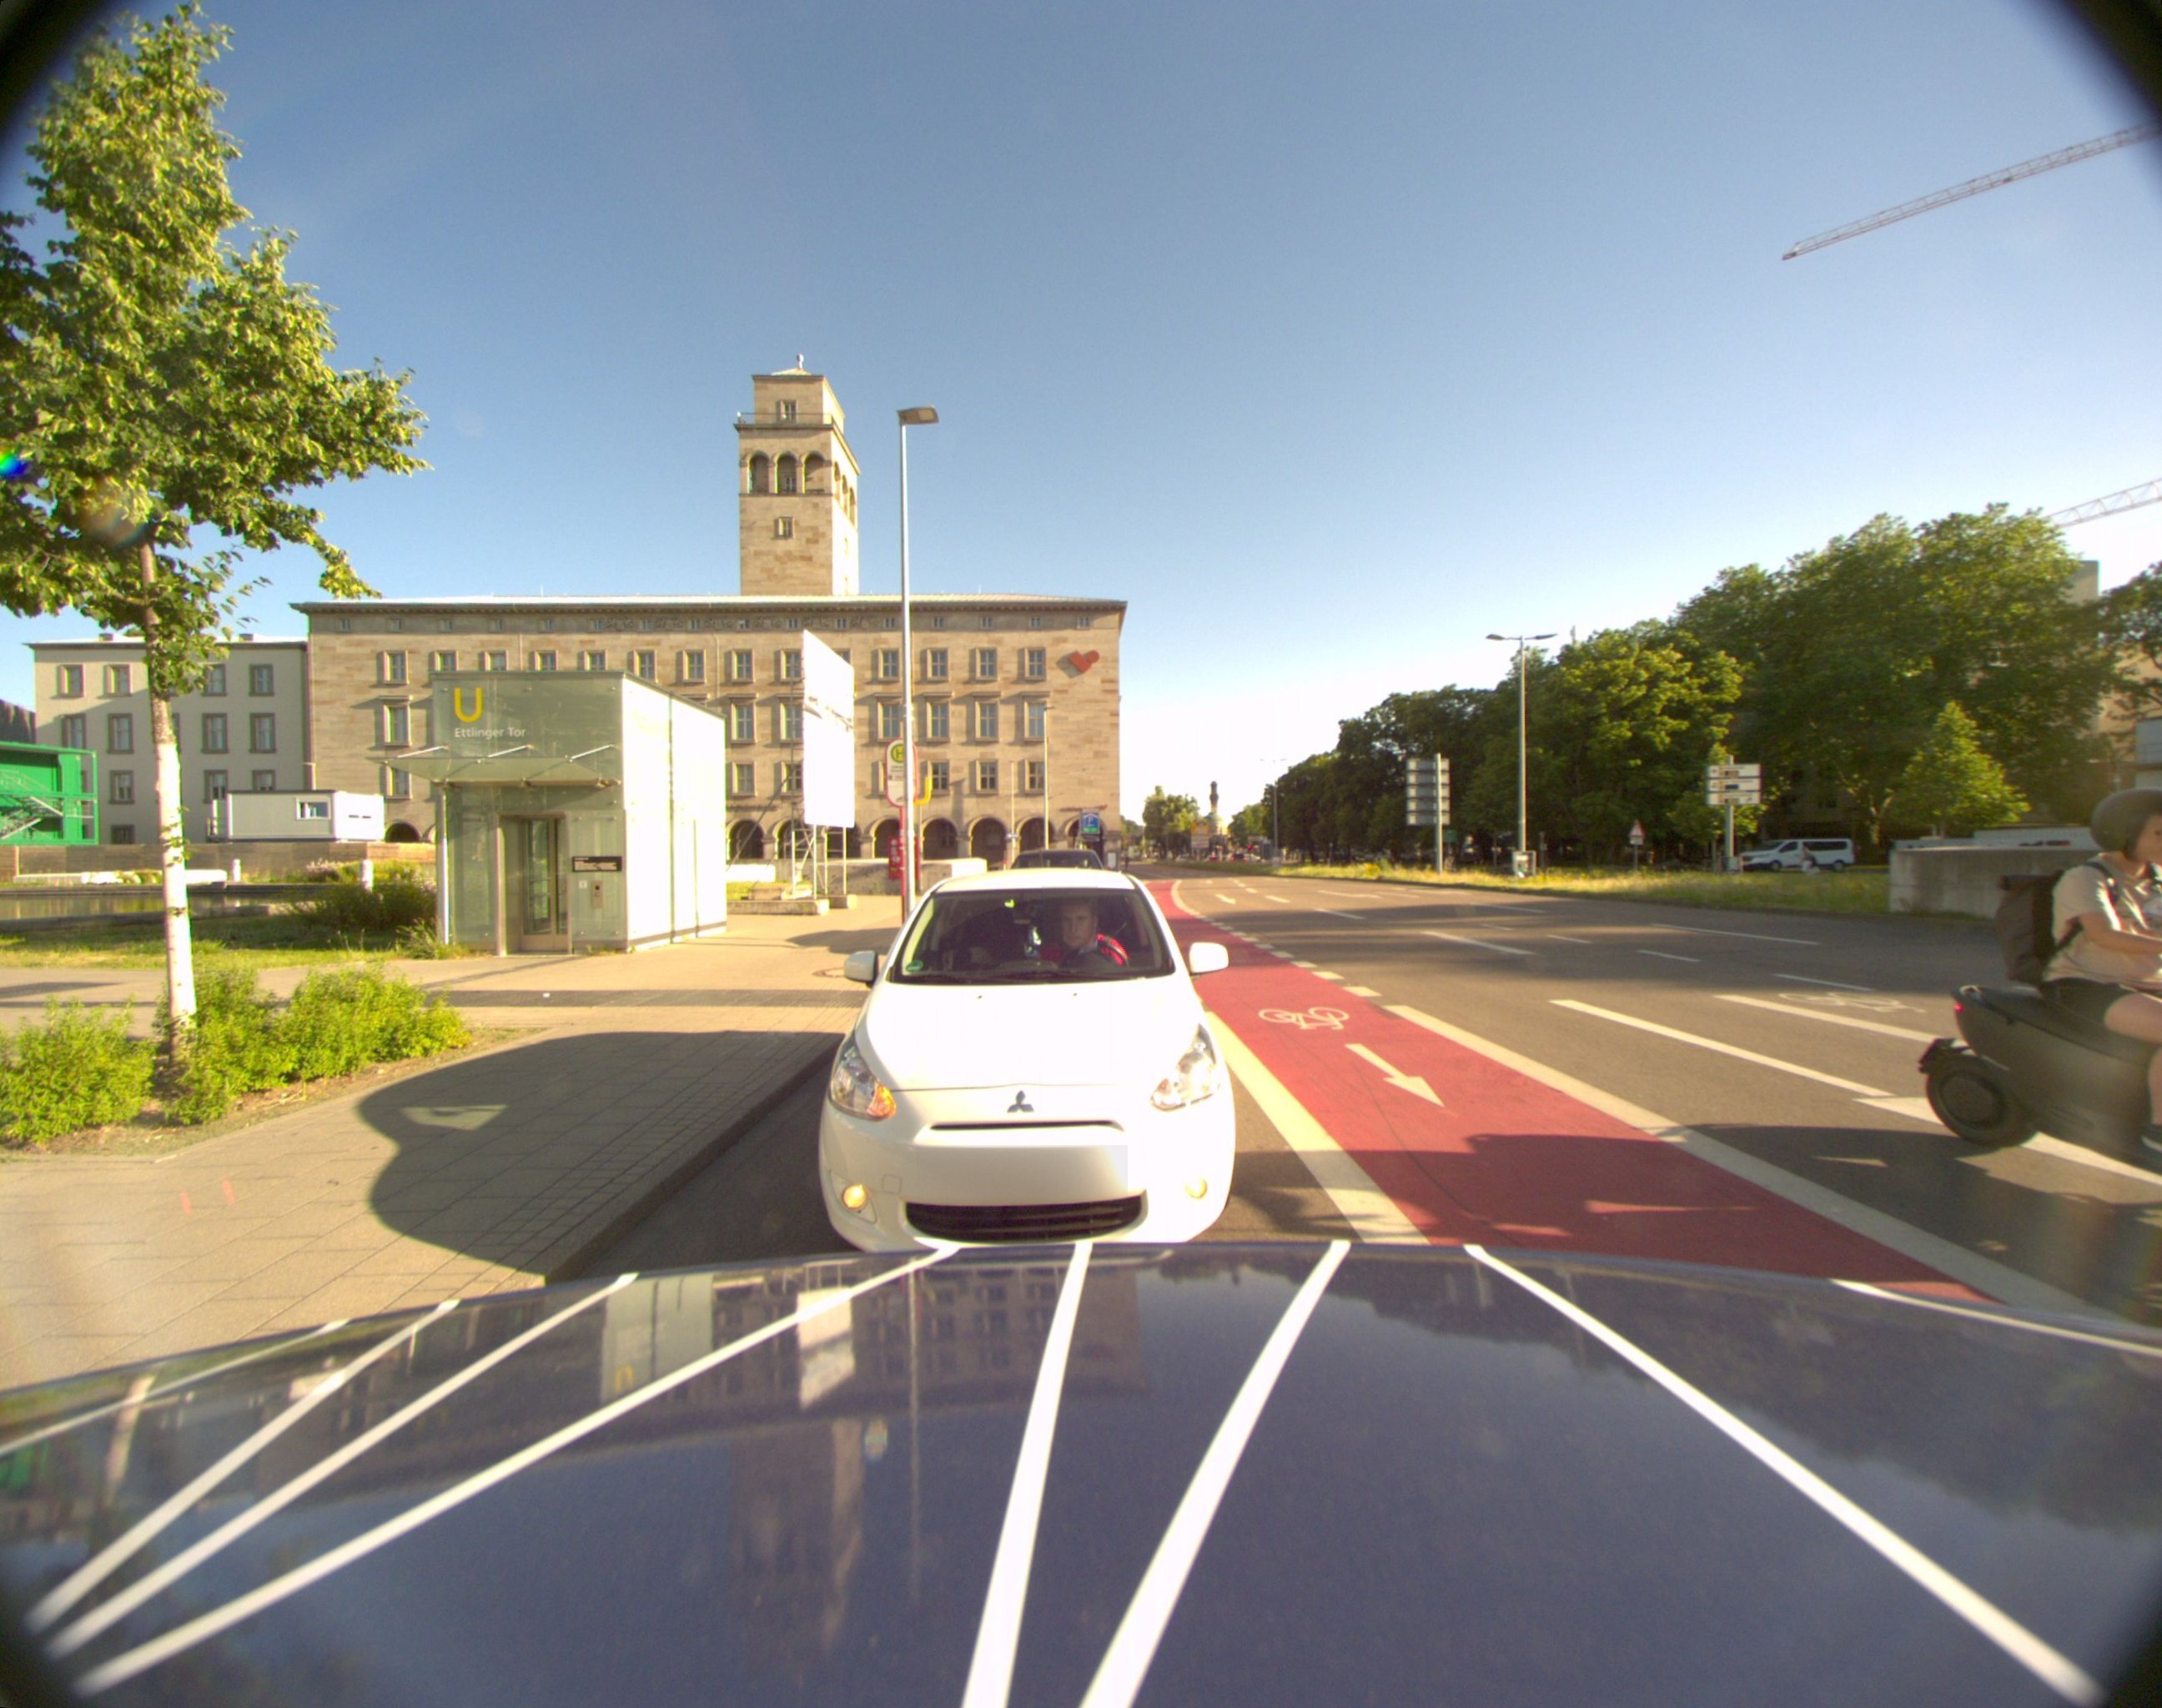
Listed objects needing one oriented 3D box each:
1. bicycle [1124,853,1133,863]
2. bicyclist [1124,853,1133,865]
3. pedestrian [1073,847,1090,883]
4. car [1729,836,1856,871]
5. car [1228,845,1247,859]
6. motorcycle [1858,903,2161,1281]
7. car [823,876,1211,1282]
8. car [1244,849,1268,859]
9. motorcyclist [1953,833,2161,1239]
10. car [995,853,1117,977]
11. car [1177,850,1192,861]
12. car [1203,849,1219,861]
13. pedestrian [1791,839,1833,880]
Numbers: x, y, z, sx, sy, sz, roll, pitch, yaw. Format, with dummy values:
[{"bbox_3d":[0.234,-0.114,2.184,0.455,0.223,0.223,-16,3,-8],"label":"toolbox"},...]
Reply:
[{"bbox_3d":[5.468,0.421,87.900,0.854,1.109,2.808,-2,0,1],"label":"bicycle"},{"bbox_3d":[5.472,0.620,87.696,0.854,1.340,0.829,-2,1,1],"label":"bicyclist"},{"bbox_3d":[0.049,0.801,54.667,1.122,2.524,1.055,-2,1,1],"label":"pedestrian"},{"bbox_3d":[42.134,-0.043,45.113,5.516,1.924,2.065,-1,1,2],"label":"car"},{"bbox_3d":[21.596,-0.297,105.104,1.819,1.817,3.999,-2,1,1],"label":"car"},{"bbox_3d":[4.285,0.901,2.886,0.724,1.286,1.884,-2,0,1],"label":"motorcycle"},{"bbox_3d":[-0.232,0.956,4.840,1.496,1.477,3.604,-2,0,1],"label":"car"},{"bbox_3d":[31.840,-0.001,138.456,3.995,1.677,1.851,-2,1,7],"label":"car"},{"bbox_3d":[4.278,0.657,2.939,0.727,1.466,0.917,-2,0,1],"label":"motorcyclist"},{"bbox_3d":[-0.371,0.842,12.519,1.642,1.653,3.849,-2,0,-1],"label":"car"},{"bbox_3d":[16.497,0.276,121.626,1.849,1.677,3.999,-2,1,1],"label":"car"},{"bbox_3d":[20.584,0.130,120.442,1.747,1.778,3.947,-2,1,1],"label":"car"},{"bbox_3d":[34.076,0.251,35.429,0.989,1.821,1.019,-2,1,-3],"label":"pedestrian"}]
